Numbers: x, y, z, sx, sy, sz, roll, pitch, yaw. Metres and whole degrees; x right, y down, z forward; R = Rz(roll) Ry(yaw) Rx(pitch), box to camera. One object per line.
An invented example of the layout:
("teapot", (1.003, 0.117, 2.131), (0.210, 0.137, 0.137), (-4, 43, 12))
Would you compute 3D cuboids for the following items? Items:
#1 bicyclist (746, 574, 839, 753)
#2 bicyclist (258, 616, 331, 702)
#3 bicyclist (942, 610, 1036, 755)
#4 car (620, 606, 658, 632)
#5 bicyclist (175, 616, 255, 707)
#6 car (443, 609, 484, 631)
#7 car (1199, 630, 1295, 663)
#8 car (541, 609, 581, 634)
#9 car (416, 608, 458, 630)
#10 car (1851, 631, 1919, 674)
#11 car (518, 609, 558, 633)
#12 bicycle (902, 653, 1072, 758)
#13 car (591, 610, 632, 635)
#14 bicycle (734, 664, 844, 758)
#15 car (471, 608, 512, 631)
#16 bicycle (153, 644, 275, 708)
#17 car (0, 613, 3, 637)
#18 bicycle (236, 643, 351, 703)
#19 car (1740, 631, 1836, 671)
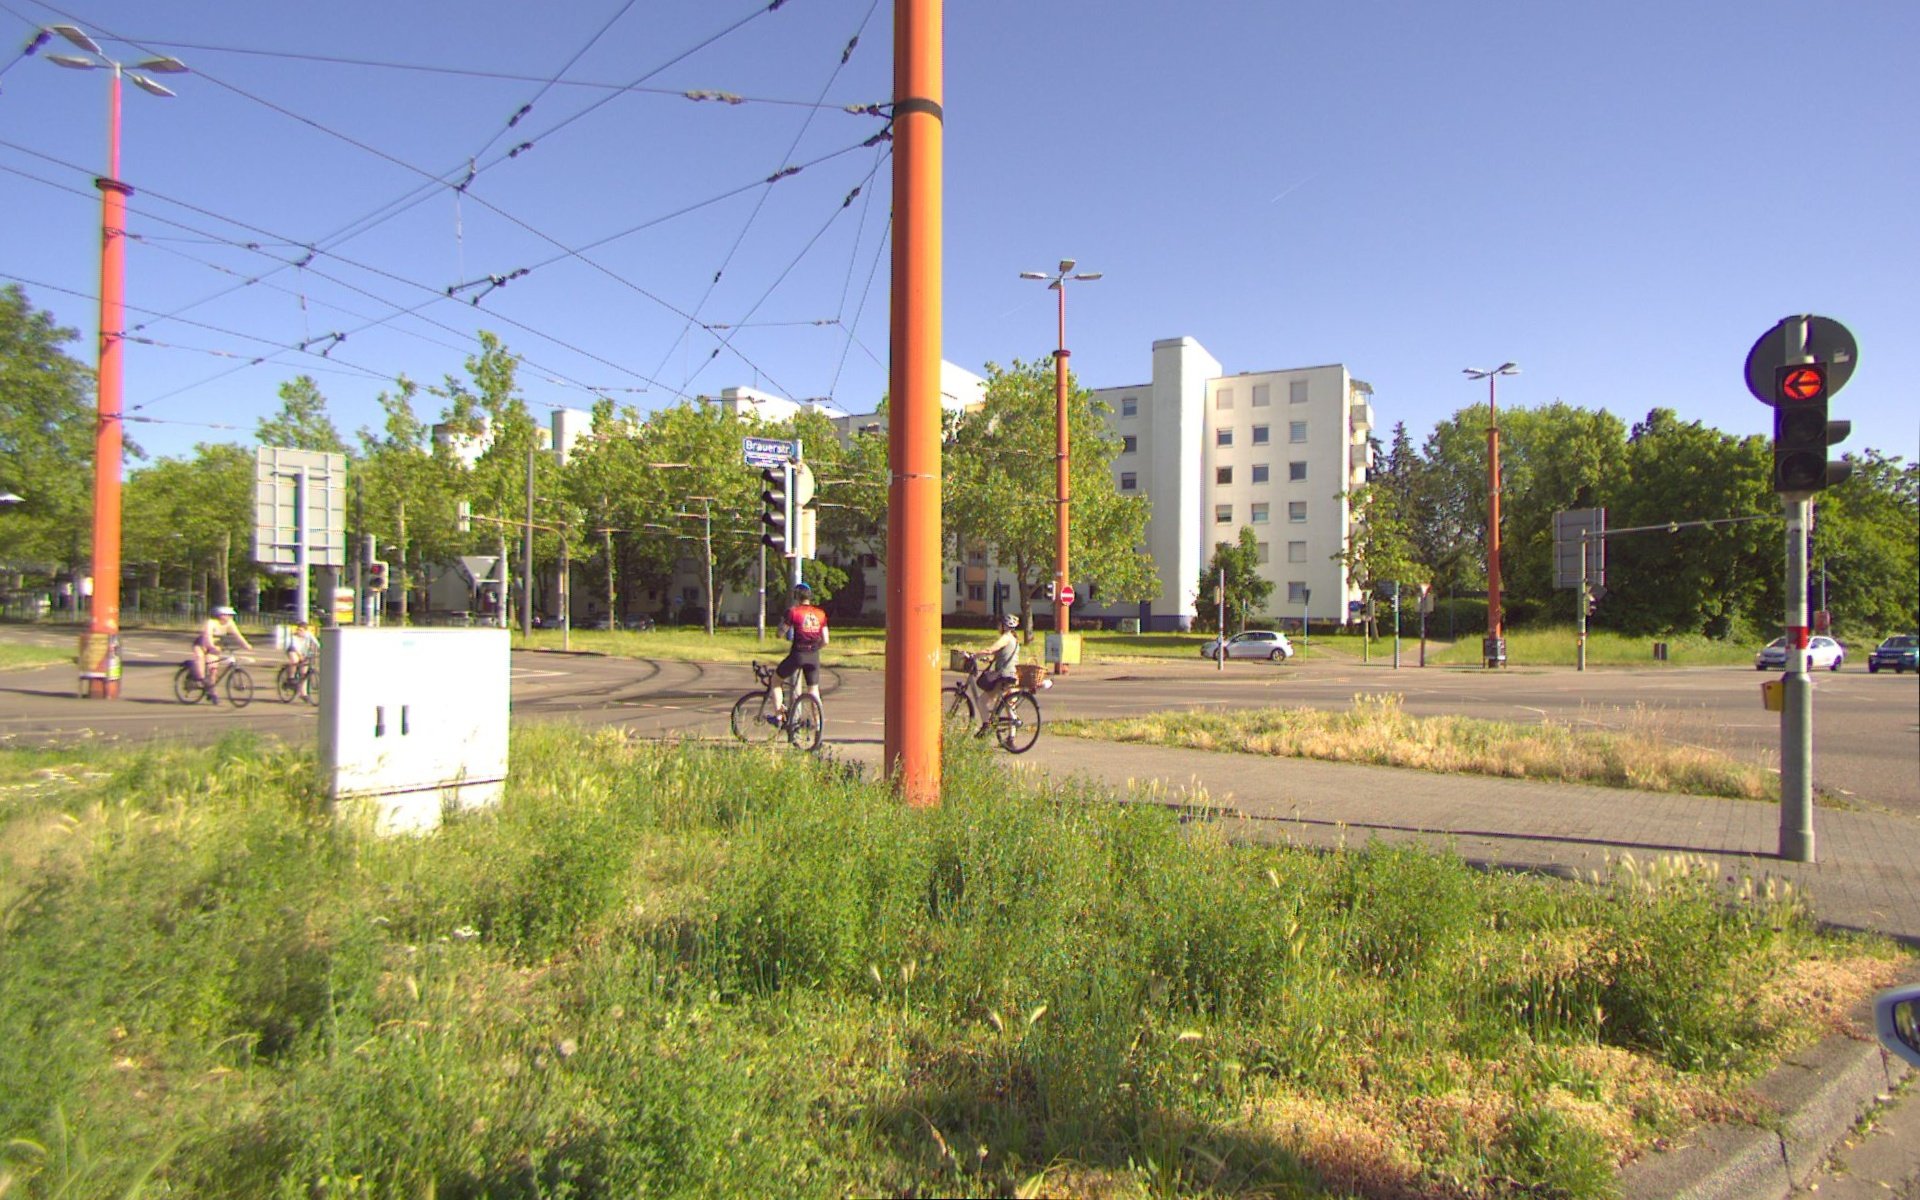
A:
("bicyclist", (-2.012, 0.742, 12.025), (0.921, 2.040, 0.736), (1, -1, -25))
("bicyclist", (-13.210, 1.159, 19.970), (0.726, 1.659, 0.934), (0, -1, 18))
("bicyclist", (0.360, 0.953, 12.099), (0.728, 1.659, 0.931), (0, -1, 35))
("car", (-23.401, 1.397, 73.419), (1.963, 1.840, 3.995), (1, -1, -8))
("bicyclist", (-14.001, 1.130, 18.899), (0.726, 1.659, 0.934), (0, -1, 18))
("car", (-42.671, 1.698, 86.450), (1.963, 1.840, 3.995), (1, -1, -8))
("car", (13.516, 2.168, 47.448), (4.136, 1.471, 1.800), (1, -1, 7))
("car", (-31.191, 1.674, 78.680), (1.963, 1.840, 3.995), (1, -1, -8))
("car", (-46.020, 1.674, 88.479), (1.963, 1.840, 3.995), (1, -1, -8))
("car", (37.269, 2.034, 39.866), (4.079, 1.594, 1.981), (2, -1, -35))
("car", (-33.806, 1.669, 80.530), (1.963, 1.840, 3.995), (1, -1, -8))
("bicycle", (0.316, 1.223, 12.123), (1.855, 1.102, 0.925), (0, -1, 34))
("car", (-26.108, 1.684, 75.331), (1.962, 1.840, 3.997), (1, -1, -5))
("bicycle", (-2.114, 1.304, 12.238), (0.915, 0.976, 1.747), (1, -1, -24))
("car", (-39.282, 1.639, 84.328), (1.963, 1.840, 3.995), (1, -1, -8))
("bicycle", (-14.027, 1.409, 18.898), (1.849, 1.102, 0.928), (0, -1, 18))
("car", (-66.290, 1.669, 67.811), (3.848, 1.615, 1.935), (0, -2, 39))
("bicycle", (-13.250, 1.439, 19.982), (1.849, 1.102, 0.928), (0, -1, 18))
("car", (35.146, 2.147, 42.607), (4.075, 1.594, 1.983), (1, -1, -32))
